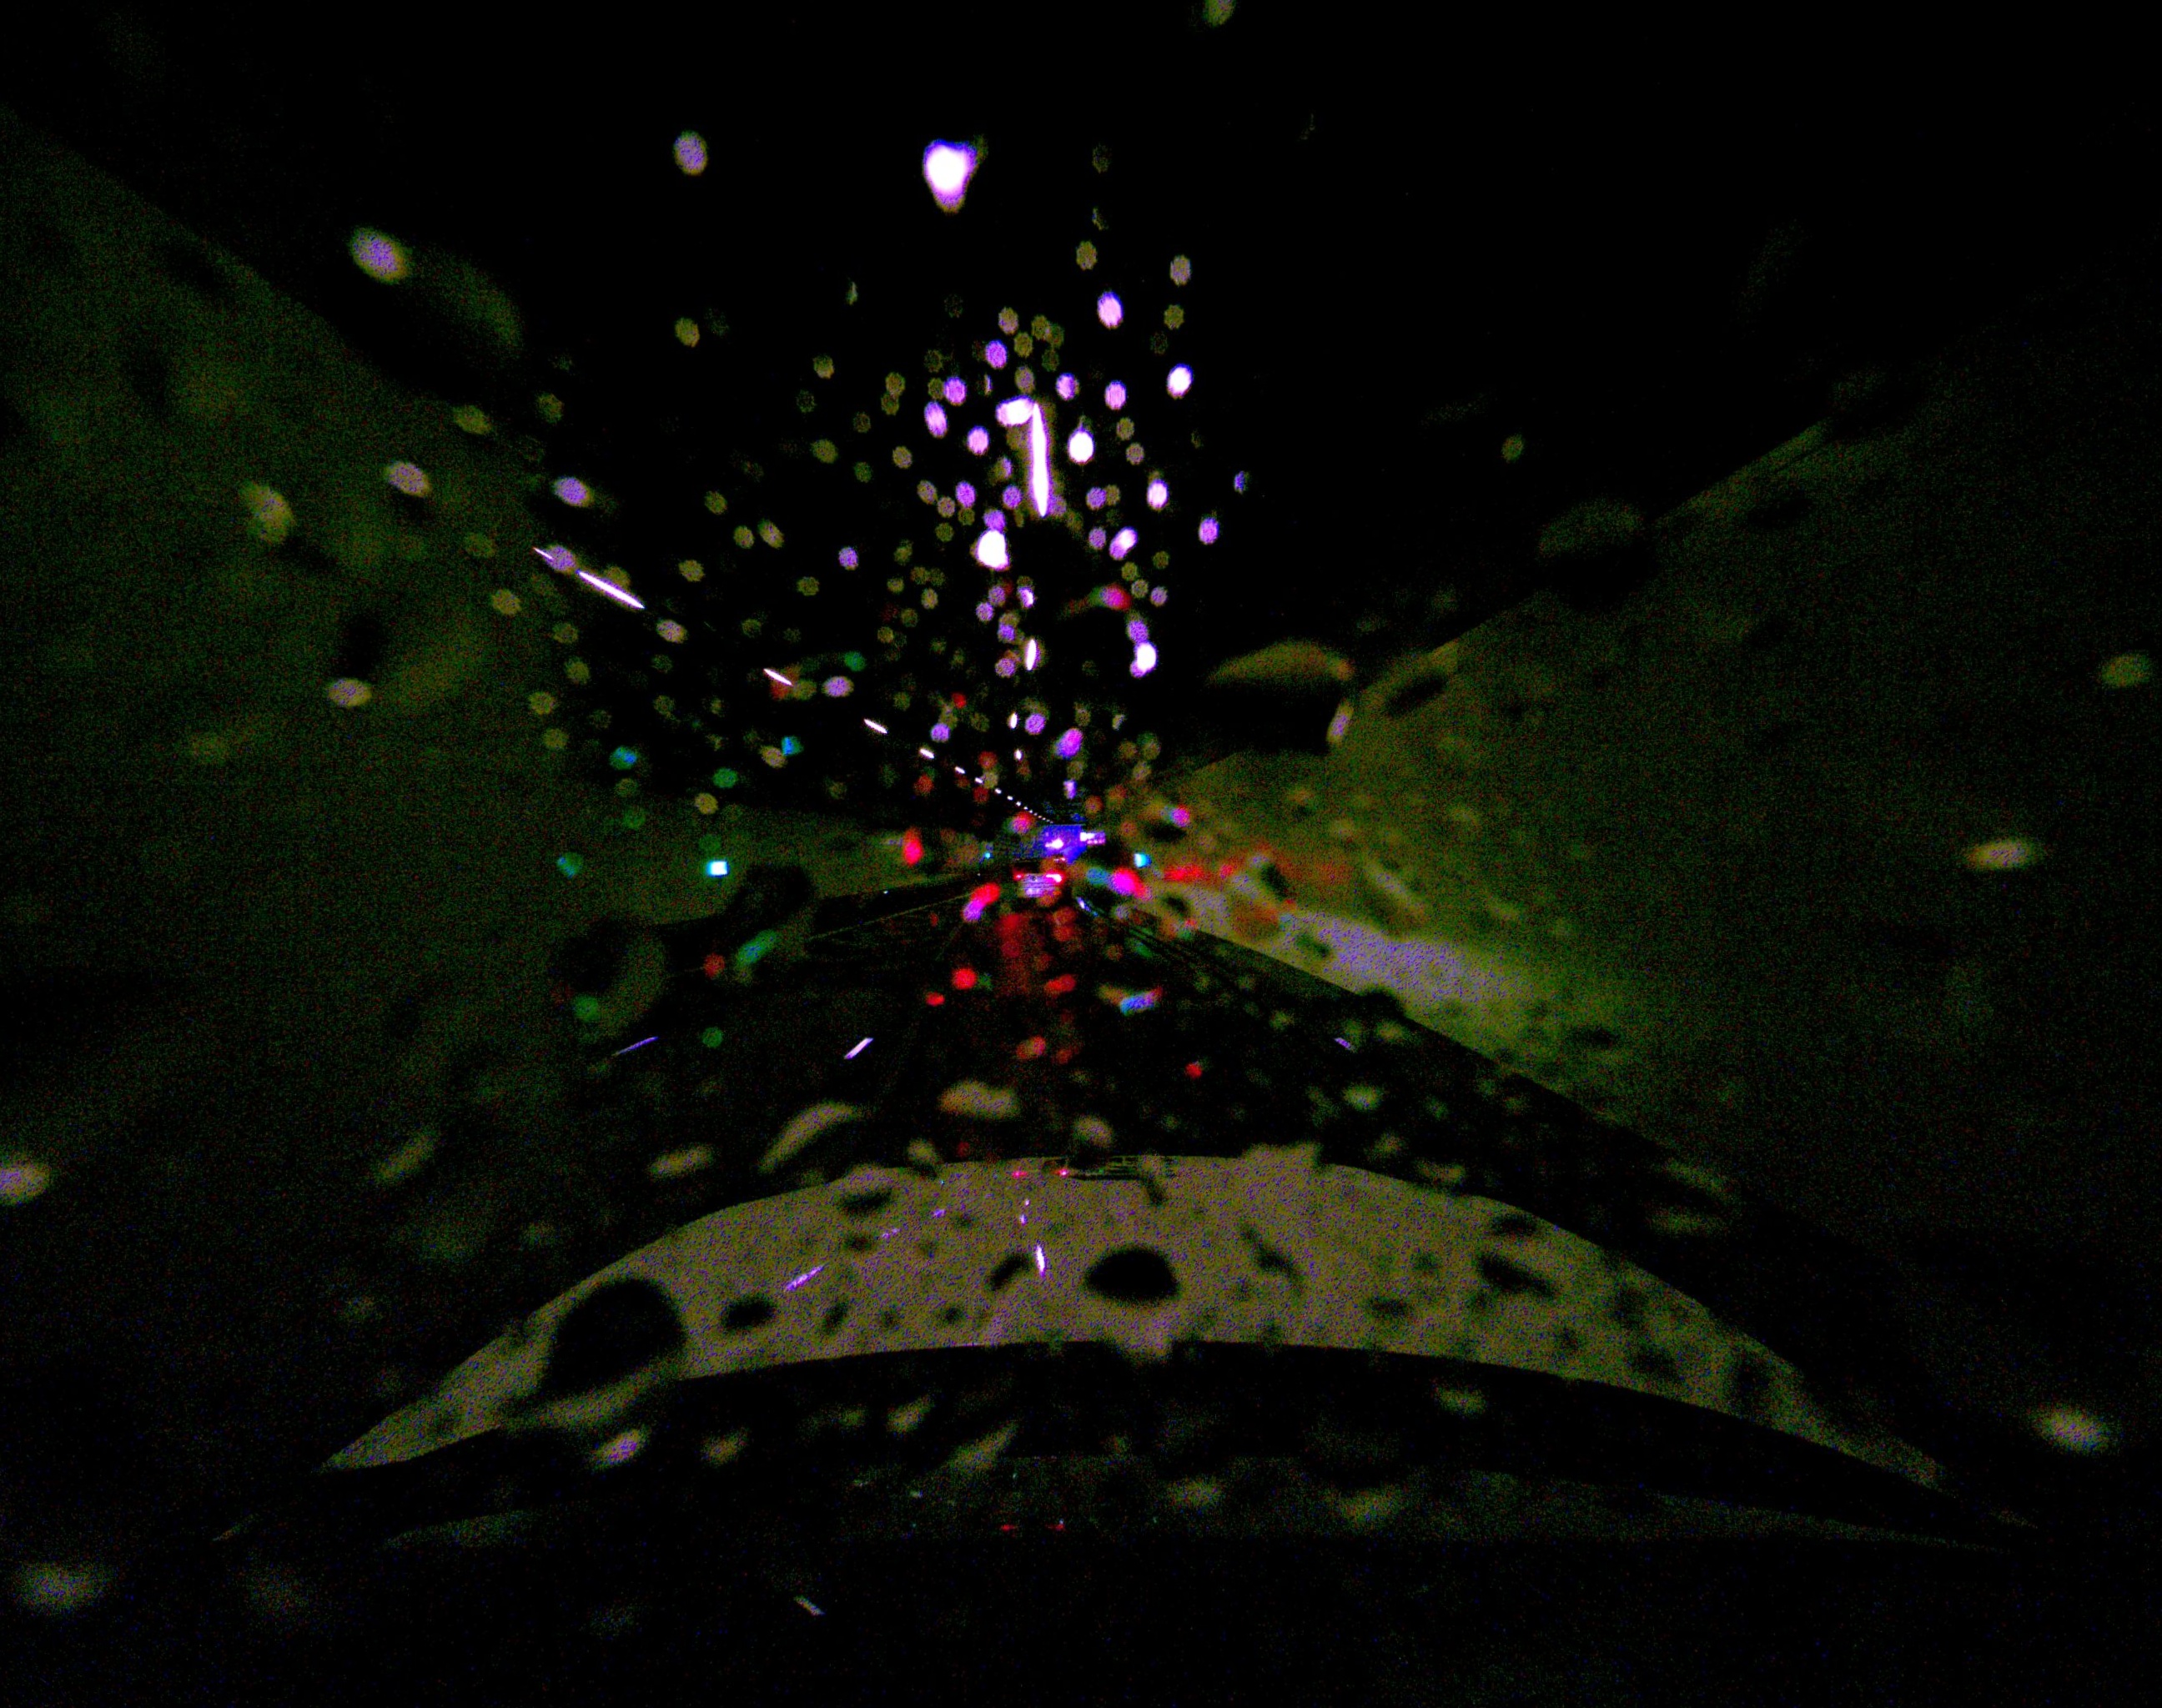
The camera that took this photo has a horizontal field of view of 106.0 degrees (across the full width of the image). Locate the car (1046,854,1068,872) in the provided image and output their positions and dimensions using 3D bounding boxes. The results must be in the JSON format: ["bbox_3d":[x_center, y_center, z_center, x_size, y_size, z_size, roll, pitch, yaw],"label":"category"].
[{"bbox_3d":[-2.272,0.849,77.453,1.874,1.621,3.999,-1,-1,0],"label":"car"}]

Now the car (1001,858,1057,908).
[{"bbox_3d":[-1.626,0.831,24.789,1.530,1.397,3.426,-1,-1,-7],"label":"car"}]
